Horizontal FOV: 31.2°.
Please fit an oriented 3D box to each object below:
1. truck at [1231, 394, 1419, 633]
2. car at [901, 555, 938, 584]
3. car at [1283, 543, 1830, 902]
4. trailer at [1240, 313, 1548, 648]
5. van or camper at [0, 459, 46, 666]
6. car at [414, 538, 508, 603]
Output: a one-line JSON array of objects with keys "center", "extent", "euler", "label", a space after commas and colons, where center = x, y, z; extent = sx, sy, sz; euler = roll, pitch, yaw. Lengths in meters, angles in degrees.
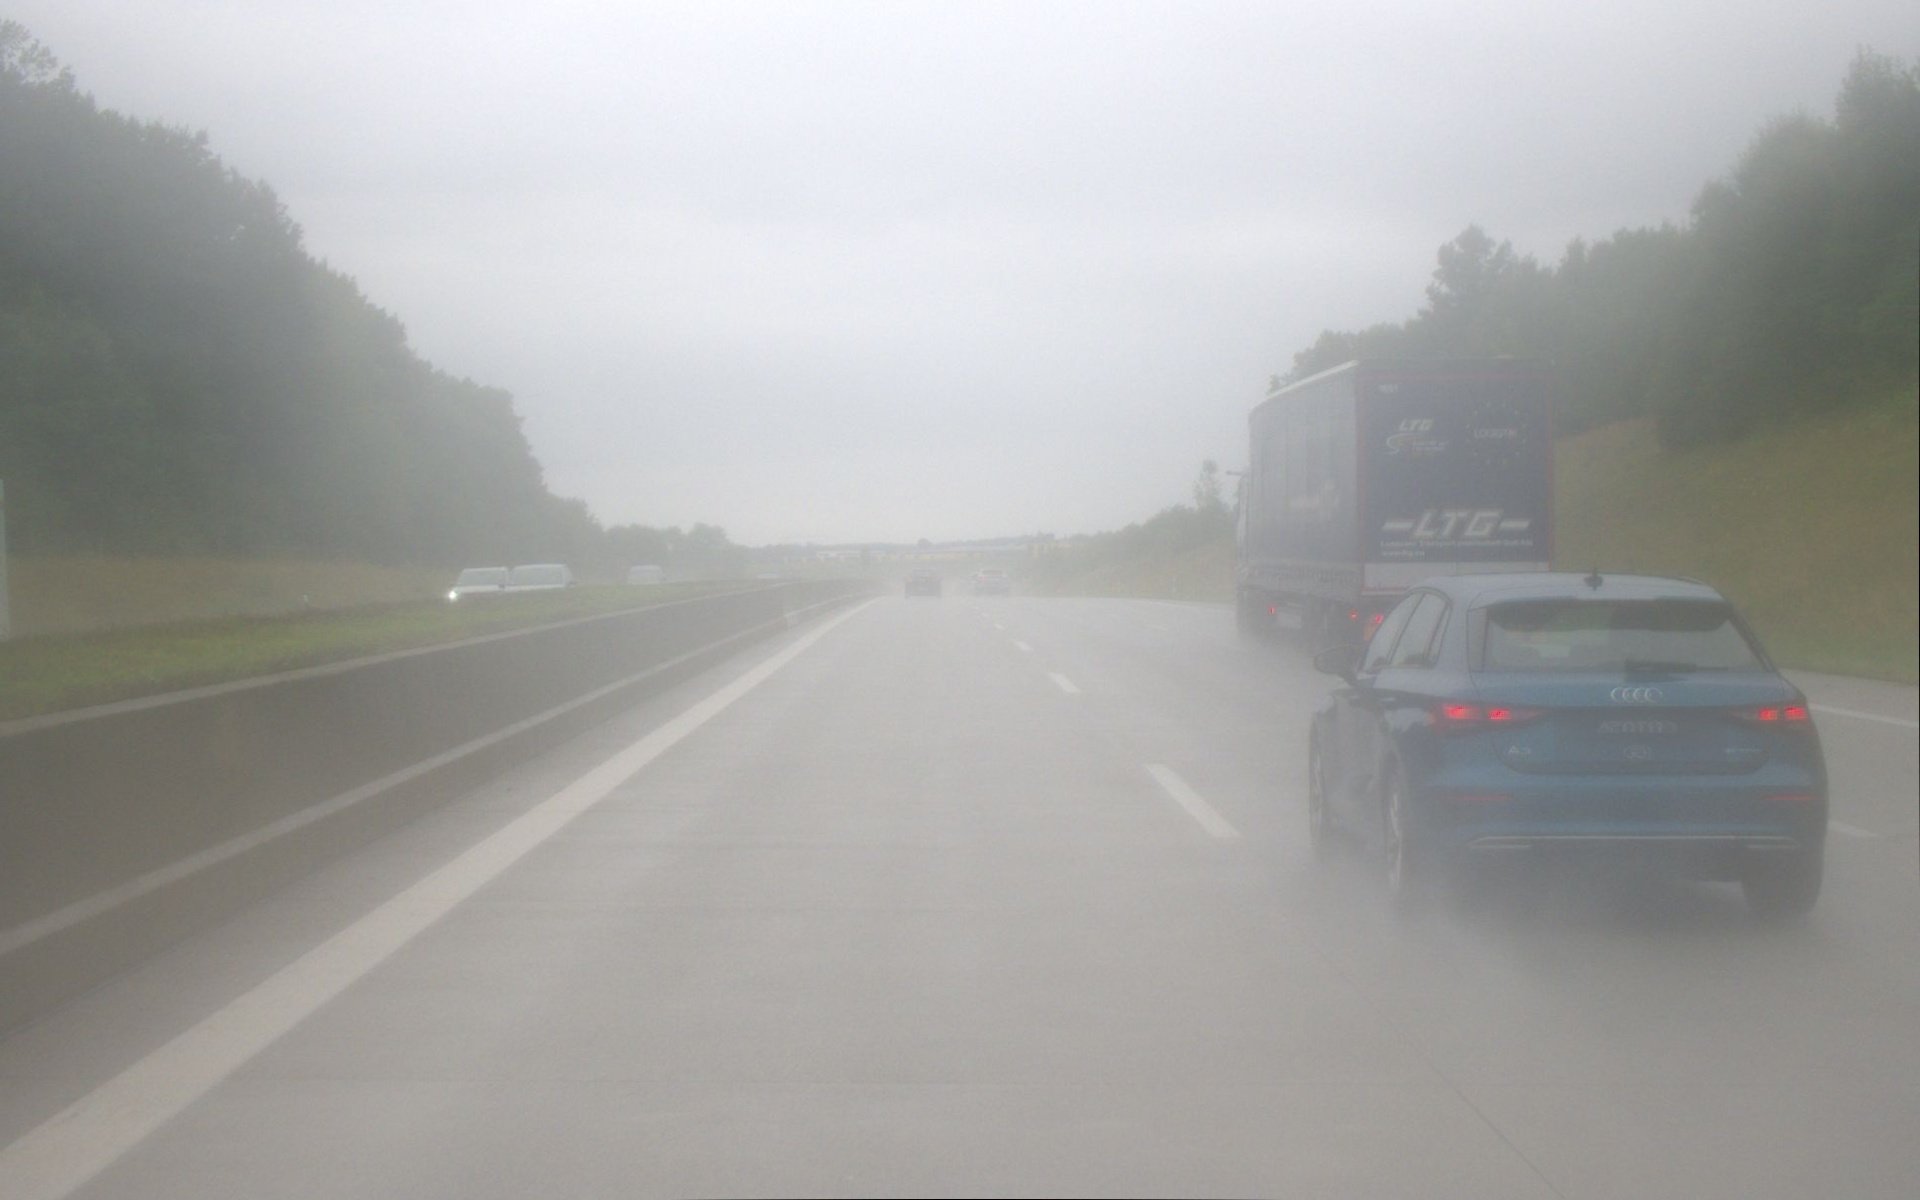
[{"center": [6.306, -1.463, 60.110], "extent": [2.636, 3.940, 5.686], "euler": [1, 0, 0], "label": "truck"}, {"center": [-1.916, -1.474, 163.776], "extent": [1.729, 1.326, 4.430], "euler": [0, 1, -1], "label": "car"}, {"center": [2.678, 0.515, 16.495], "extent": [1.729, 1.454, 4.672], "euler": [-1, 0, -1], "label": "car"}, {"center": [6.321, -1.631, 52.805], "extent": [2.706, 4.364, 15.205], "euler": [1, 0, 0], "label": "trailer"}, {"center": [-13.836, -0.459, 43.761], "extent": [2.412, 2.726, 7.714], "euler": [-1, 0, -1], "label": "van or camper"}, {"center": [-13.616, -0.817, 94.026], "extent": [1.879, 1.659, 4.688], "euler": [-2, 1, -1], "label": "car"}]
